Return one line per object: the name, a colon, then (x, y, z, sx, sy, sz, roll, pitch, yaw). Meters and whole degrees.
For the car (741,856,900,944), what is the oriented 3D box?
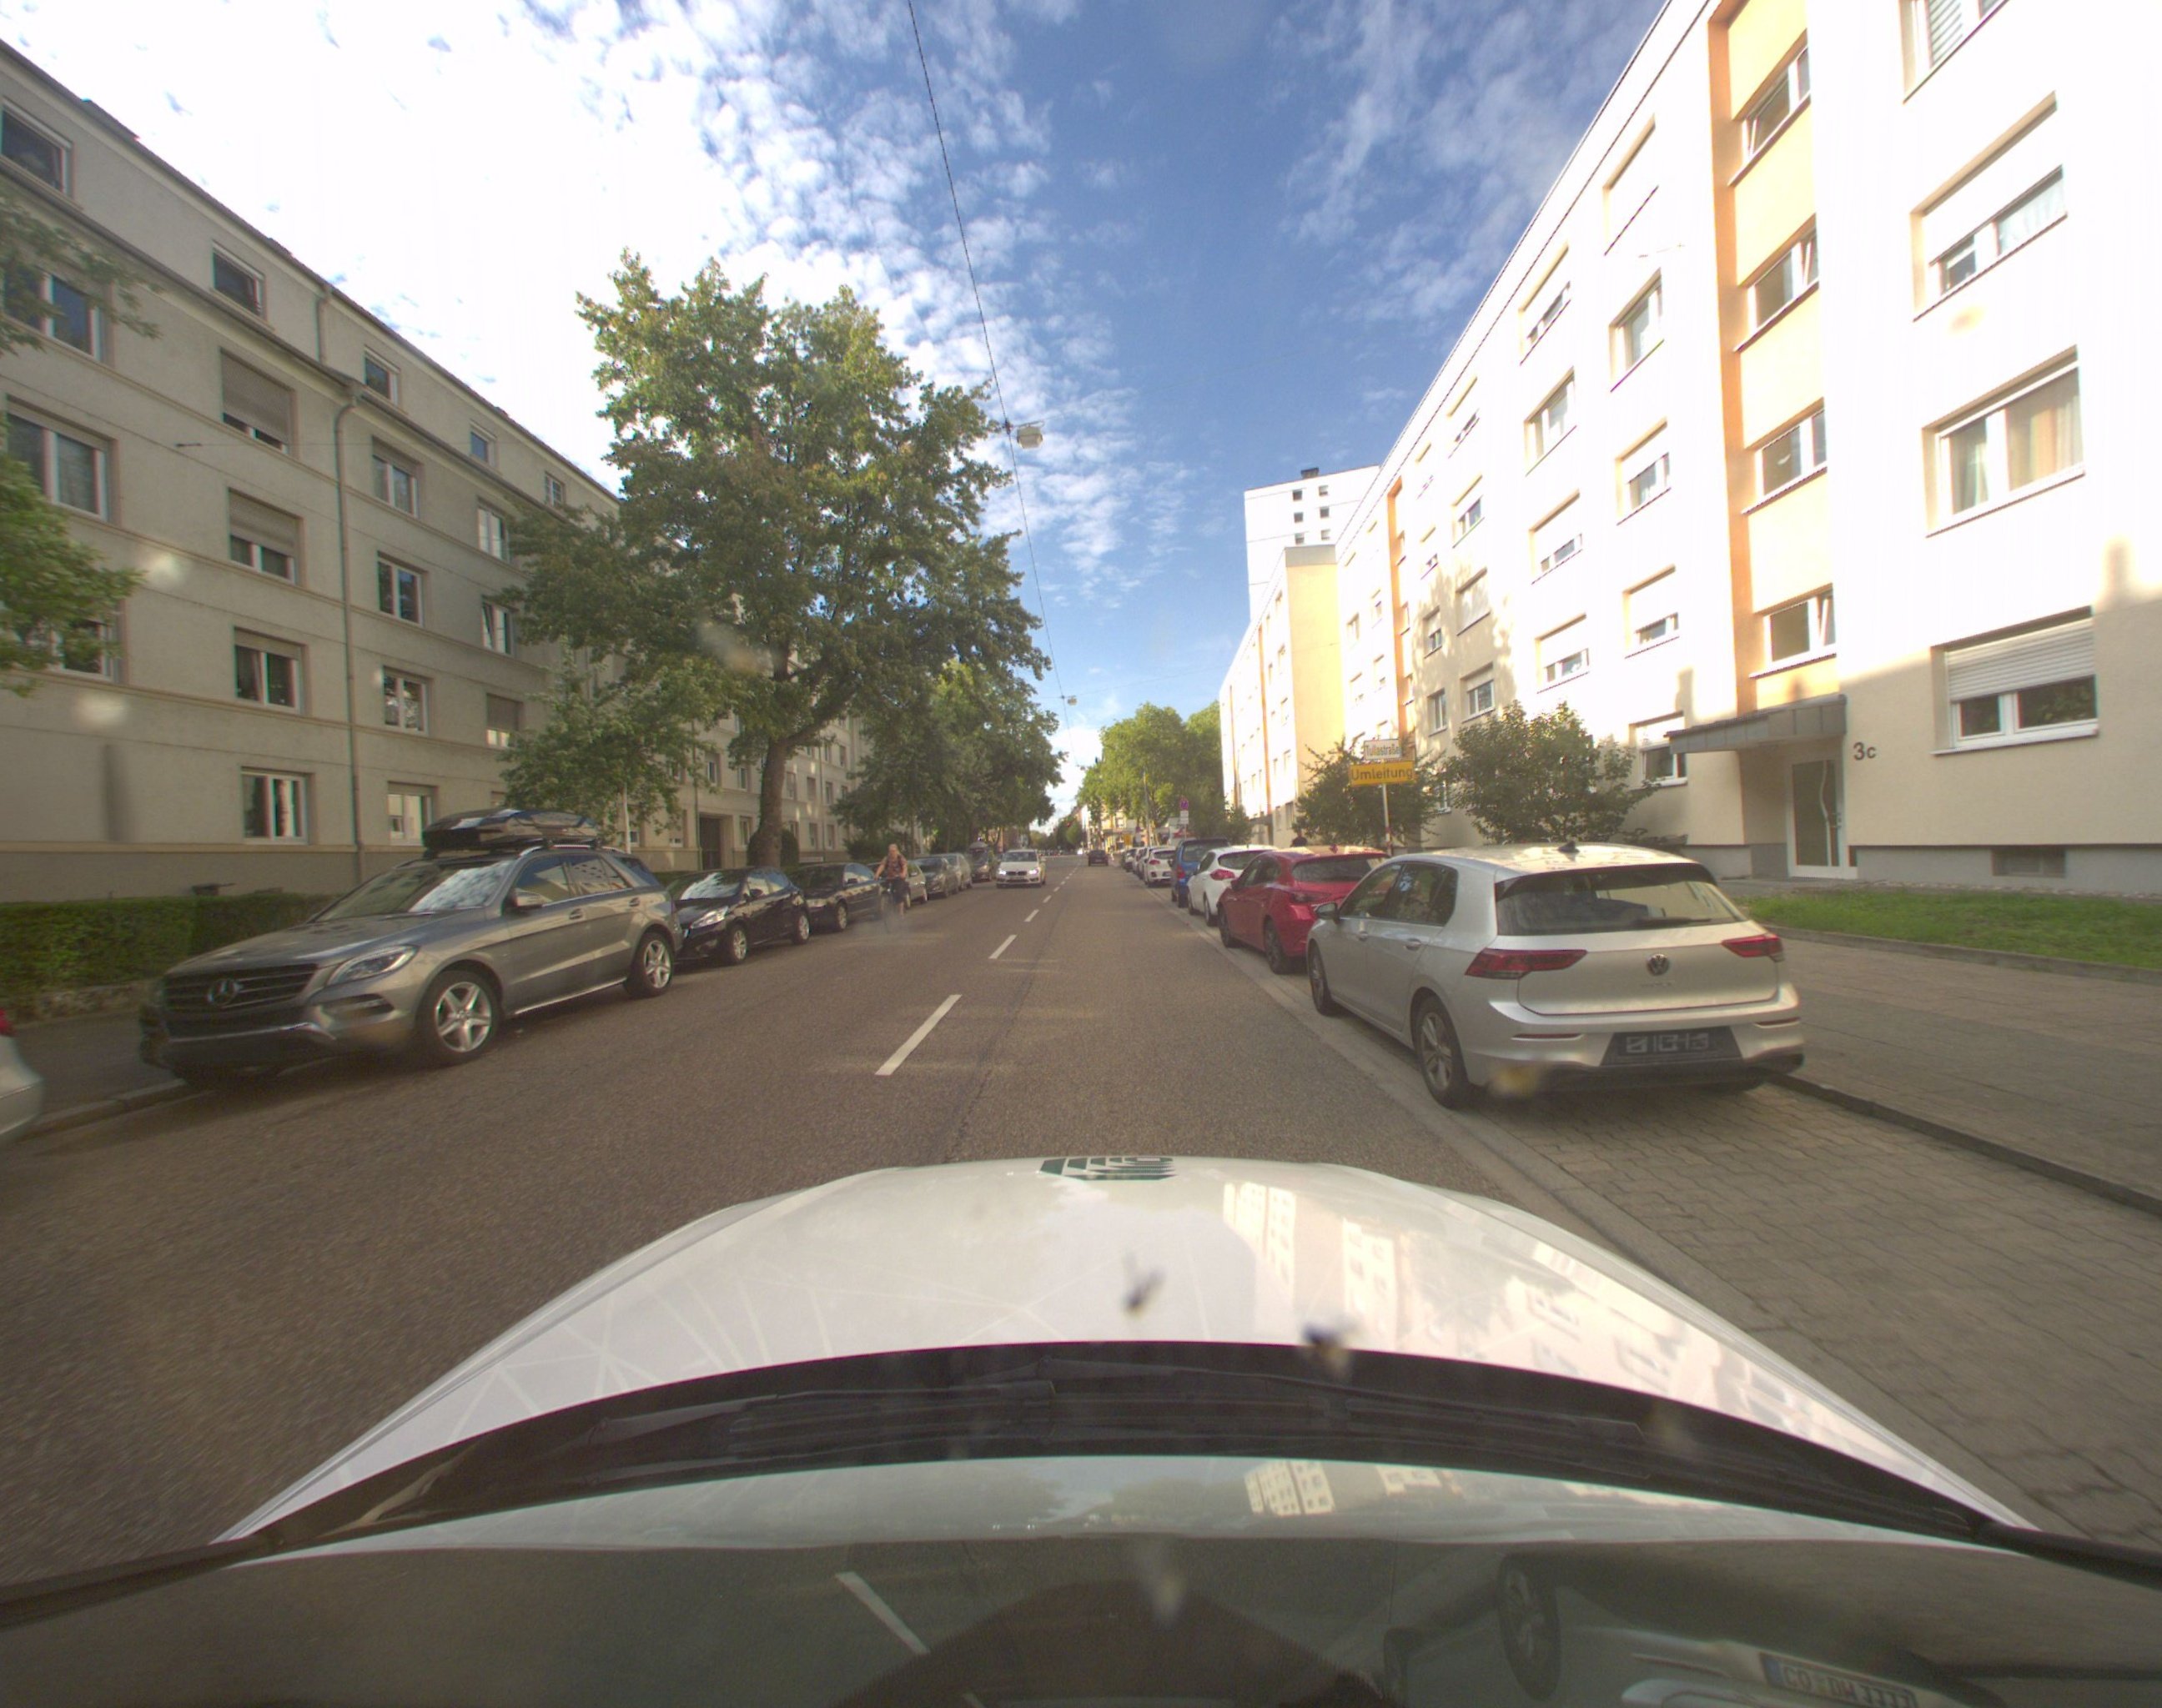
car: (-5.591, 0.906, 18.116, 1.678, 1.480, 4.456, -6, 0, 4)

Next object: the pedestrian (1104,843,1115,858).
pedestrian: (3.562, -0.425, 101.775, 1.076, 1.753, 0.914, -2, 0, -16)

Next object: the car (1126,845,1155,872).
car: (3.810, 0.246, 52.280, 1.682, 1.528, 4.242, -3, 0, 4)

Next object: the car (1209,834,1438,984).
car: (2.978, 0.595, 10.986, 1.723, 1.515, 4.190, -4, 0, -1)

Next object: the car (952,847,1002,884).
car: (-5.415, 0.539, 42.945, 1.792, 1.668, 4.485, -5, 0, 2)

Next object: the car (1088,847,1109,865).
car: (1.527, 0.167, 70.997, 1.746, 1.413, 4.000, -2, 1, 0)

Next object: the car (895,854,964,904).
car: (-5.260, 0.810, 28.685, 1.610, 1.468, 4.012, -6, 0, -1)

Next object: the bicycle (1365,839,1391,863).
bicycle: (12.186, -0.133, 33.456, 0.457, 0.927, 1.517, -4, 0, 0)

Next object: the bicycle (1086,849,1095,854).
bicycle: (2.231, -0.490, 190.950, 2.024, 1.082, 0.617, -3, 0, -13)

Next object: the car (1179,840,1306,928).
car: (3.150, 0.523, 16.663, 1.723, 1.461, 4.116, -4, 0, 0)

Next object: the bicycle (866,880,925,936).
bicycle: (-3.649, 1.042, 16.144, 0.640, 0.923, 1.858, -4, 0, 1)

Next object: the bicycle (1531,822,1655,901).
bicycle: (9.435, 0.121, 15.178, 0.593, 1.291, 2.636, -6, 0, 1)

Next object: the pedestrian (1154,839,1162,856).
pedestrian: (7.375, -0.613, 77.759, 0.650, 1.645, 0.743, -2, 0, 1)

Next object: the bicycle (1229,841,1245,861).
bicycle: (10.108, -0.198, 52.804, 0.595, 1.186, 2.210, -6, 0, 1)

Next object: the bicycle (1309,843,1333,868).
bicycle: (9.801, 0.053, 33.309, 0.457, 0.941, 1.517, -4, 0, 0)

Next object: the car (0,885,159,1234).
car: (-5.993, 1.044, 2.143, 1.848, 1.573, 4.462, -4, 0, 2)

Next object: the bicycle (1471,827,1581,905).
bicycle: (8.199, 0.198, 15.171, 0.602, 1.291, 2.636, -4, 0, 1)

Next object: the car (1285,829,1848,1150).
car: (2.851, 0.646, 5.957, 1.656, 1.416, 4.059, -5, 0, 1)

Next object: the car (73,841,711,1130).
car: (-5.788, 0.868, 7.998, 1.871, 1.792, 4.970, -5, 0, 0)

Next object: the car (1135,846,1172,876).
car: (3.763, 0.340, 42.712, 1.510, 1.398, 3.675, -4, 0, -1)

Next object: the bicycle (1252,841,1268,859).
bicycle: (11.539, -0.276, 52.602, 0.527, 1.114, 2.210, -4, 0, 1)

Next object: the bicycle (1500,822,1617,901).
bicycle: (8.827, 0.121, 15.204, 0.602, 1.291, 2.636, -5, 0, 1)

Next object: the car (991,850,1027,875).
car: (-4.986, 0.535, 56.841, 1.687, 1.493, 4.338, -4, 1, 4)

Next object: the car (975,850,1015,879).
car: (-5.004, 0.589, 47.916, 1.694, 1.486, 3.850, -5, 0, 2)

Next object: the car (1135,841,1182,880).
car: (3.554, 0.285, 37.991, 1.723, 1.580, 4.117, -4, 0, 0)

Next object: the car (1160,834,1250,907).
car: (3.214, 0.396, 21.870, 1.723, 1.649, 4.116, -4, 0, 0)

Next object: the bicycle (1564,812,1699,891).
bicycle: (10.149, -0.052, 15.176, 0.724, 1.291, 2.636, -4, 0, 1)

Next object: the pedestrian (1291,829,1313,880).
pedestrian: (7.758, 0.016, 28.603, 0.539, 1.721, 0.773, -2, 0, 6)

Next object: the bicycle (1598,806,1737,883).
bicycle: (10.858, -0.167, 15.237, 0.724, 1.291, 2.636, -2, 0, 1)

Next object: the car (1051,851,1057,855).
car: (-8.706, -0.386, 260.951, 1.772, 1.230, 3.587, -2, 0, 0)

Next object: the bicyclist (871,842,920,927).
bicyclist: (-3.681, 0.594, 16.233, 0.639, 1.600, 0.990, -4, 0, 1)

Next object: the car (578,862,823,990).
car: (-5.806, 0.995, 13.080, 1.678, 1.480, 4.122, -6, 0, 3)

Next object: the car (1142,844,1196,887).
car: (3.402, 0.405, 32.182, 1.722, 1.487, 4.644, -4, 0, 2)

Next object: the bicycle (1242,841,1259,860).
bicycle: (10.921, -0.237, 52.614, 0.595, 1.114, 2.210, -4, 0, 1)

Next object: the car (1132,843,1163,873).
car: (3.776, 0.219, 46.561, 1.545, 1.557, 3.469, -2, 0, 1)

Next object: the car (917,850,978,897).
car: (-5.473, 0.757, 33.859, 1.733, 1.620, 3.993, -7, 0, 0)

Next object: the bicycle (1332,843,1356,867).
bicycle: (10.754, 0.041, 33.337, 0.457, 0.927, 1.517, -4, 0, 0)

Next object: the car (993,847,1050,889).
car: (-2.401, 0.546, 33.727, 1.852, 1.528, 4.013, -3, 1, 2)

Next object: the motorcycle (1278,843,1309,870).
motorcycle: (8.827, 0.076, 33.941, 0.628, 1.044, 2.394, -4, 0, 0)

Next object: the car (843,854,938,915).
car: (-5.453, 0.811, 23.764, 1.594, 1.418, 3.965, -6, 0, 1)
